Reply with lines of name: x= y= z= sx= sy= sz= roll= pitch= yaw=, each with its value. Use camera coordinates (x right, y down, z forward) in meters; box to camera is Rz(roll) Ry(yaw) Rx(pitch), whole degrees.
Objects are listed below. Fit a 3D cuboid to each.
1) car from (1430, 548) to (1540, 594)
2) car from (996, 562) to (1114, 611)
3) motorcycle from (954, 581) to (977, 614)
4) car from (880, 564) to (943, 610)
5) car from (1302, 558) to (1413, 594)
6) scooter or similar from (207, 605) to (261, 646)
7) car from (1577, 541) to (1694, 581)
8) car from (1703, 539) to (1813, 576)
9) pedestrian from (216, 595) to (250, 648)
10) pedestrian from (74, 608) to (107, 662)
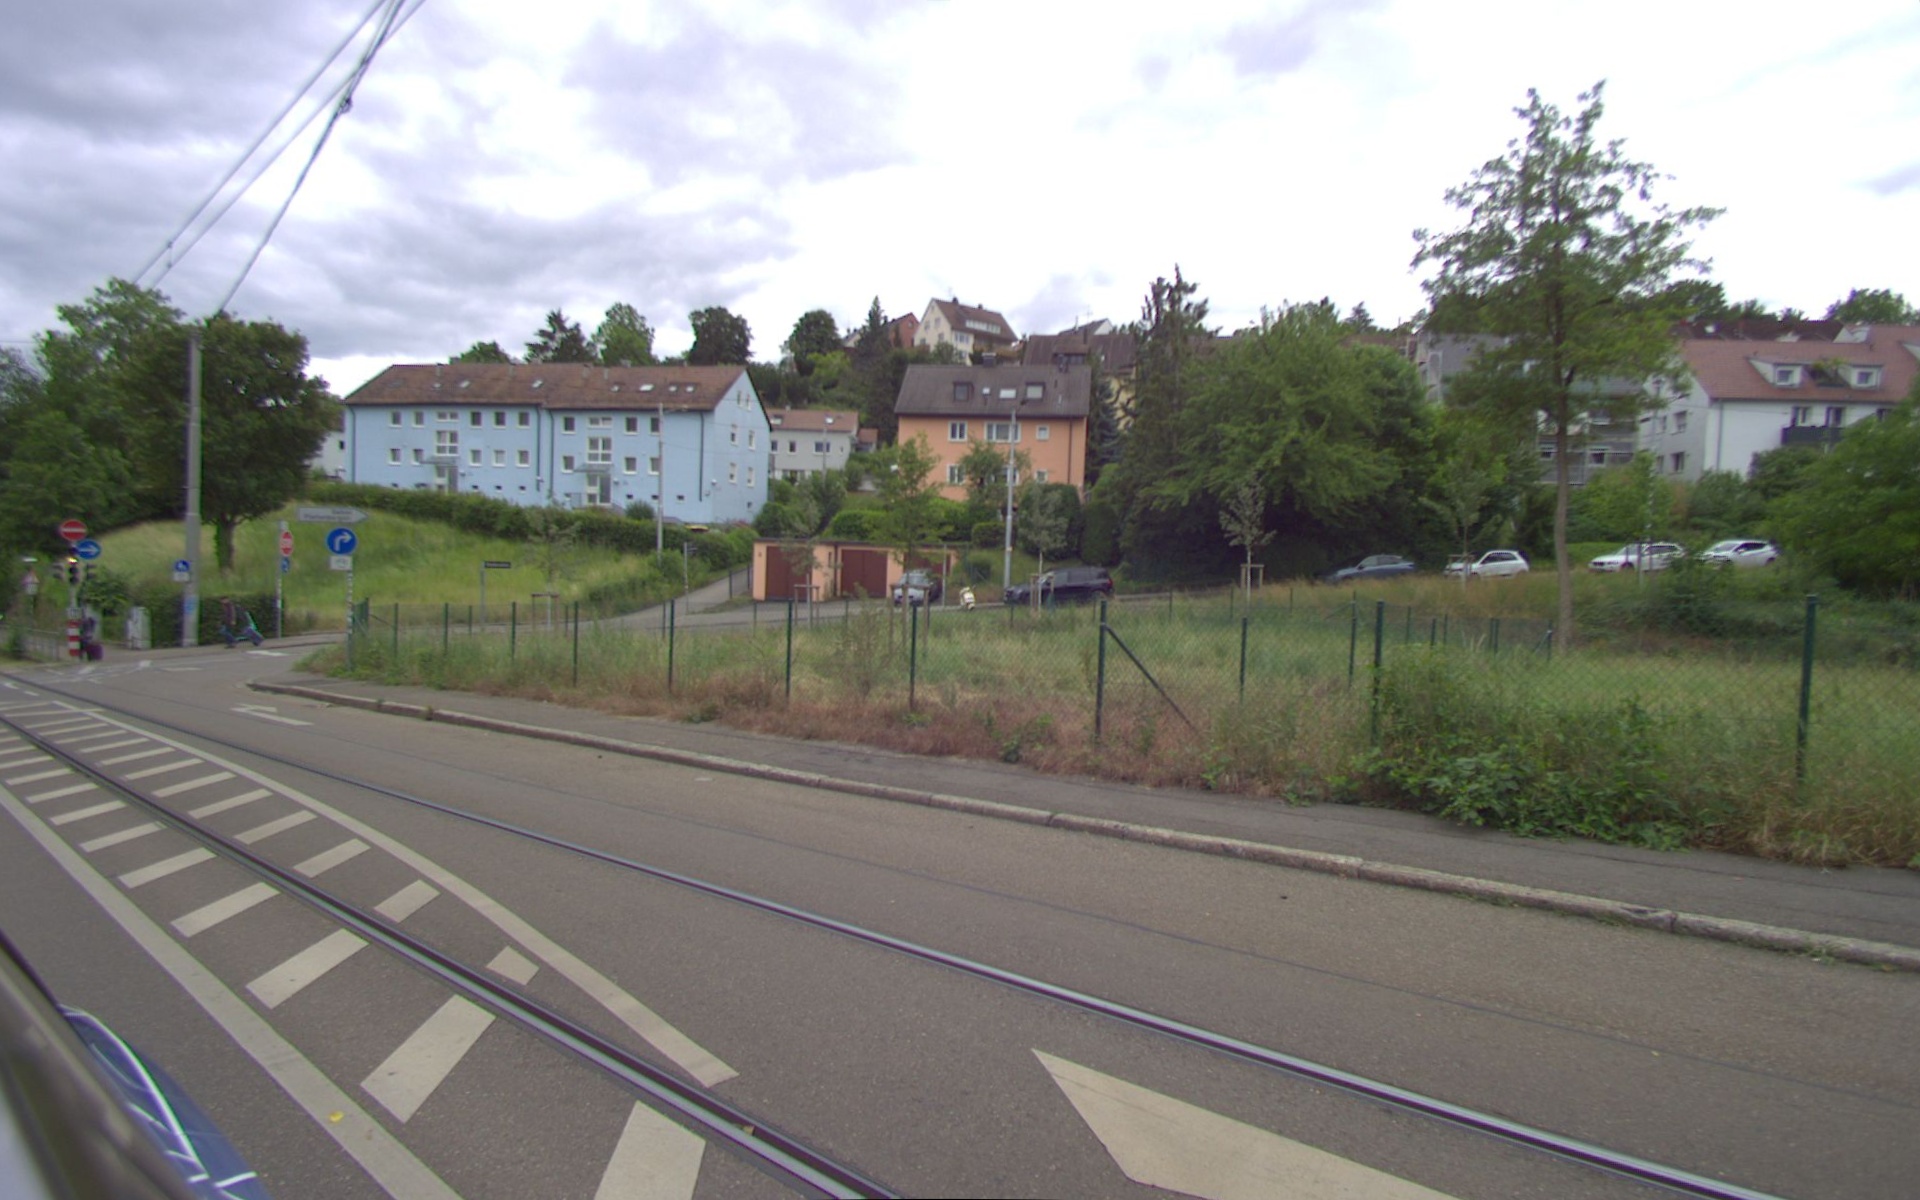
car: x=23.723 y=-1.301 z=45.804 sx=4.064 sy=2.029 sz=1.987 roll=-1 pitch=1 yaw=-11
car: x=3.878 y=-0.574 z=41.630 sx=4.378 sy=1.702 sz=1.982 roll=-4 pitch=2 yaw=-11
motorcycle: x=0.216 y=-0.117 z=40.924 sx=0.513 sy=1.165 sz=1.710 roll=-1 pitch=5 yaw=-14
car: x=-2.102 y=-0.637 z=45.534 sx=1.977 sy=1.624 sz=4.871 roll=0 pitch=6 yaw=8
car: x=17.348 y=-1.041 z=44.243 sx=4.065 sy=1.523 sz=1.987 roll=-1 pitch=1 yaw=-9
scooter or similar: x=-25.204 y=0.870 z=35.155 sx=0.418 sy=1.298 sz=1.394 roll=0 pitch=5 yaw=41
car: x=31.525 y=-1.827 z=47.258 sx=4.412 sy=1.802 sz=1.906 roll=-1 pitch=1 yaw=-9
car: x=38.062 y=-2.018 z=48.315 sx=4.065 sy=1.670 sz=1.841 roll=-1 pitch=1 yaw=-9
pedestrian: x=-24.427 y=0.710 z=34.016 sx=0.887 sy=1.763 sz=0.744 roll=-1 pitch=1 yaw=-36
pedestrian: x=-26.817 y=1.066 z=31.212 sx=0.742 sy=1.586 sz=0.758 roll=-1 pitch=1 yaw=-42
